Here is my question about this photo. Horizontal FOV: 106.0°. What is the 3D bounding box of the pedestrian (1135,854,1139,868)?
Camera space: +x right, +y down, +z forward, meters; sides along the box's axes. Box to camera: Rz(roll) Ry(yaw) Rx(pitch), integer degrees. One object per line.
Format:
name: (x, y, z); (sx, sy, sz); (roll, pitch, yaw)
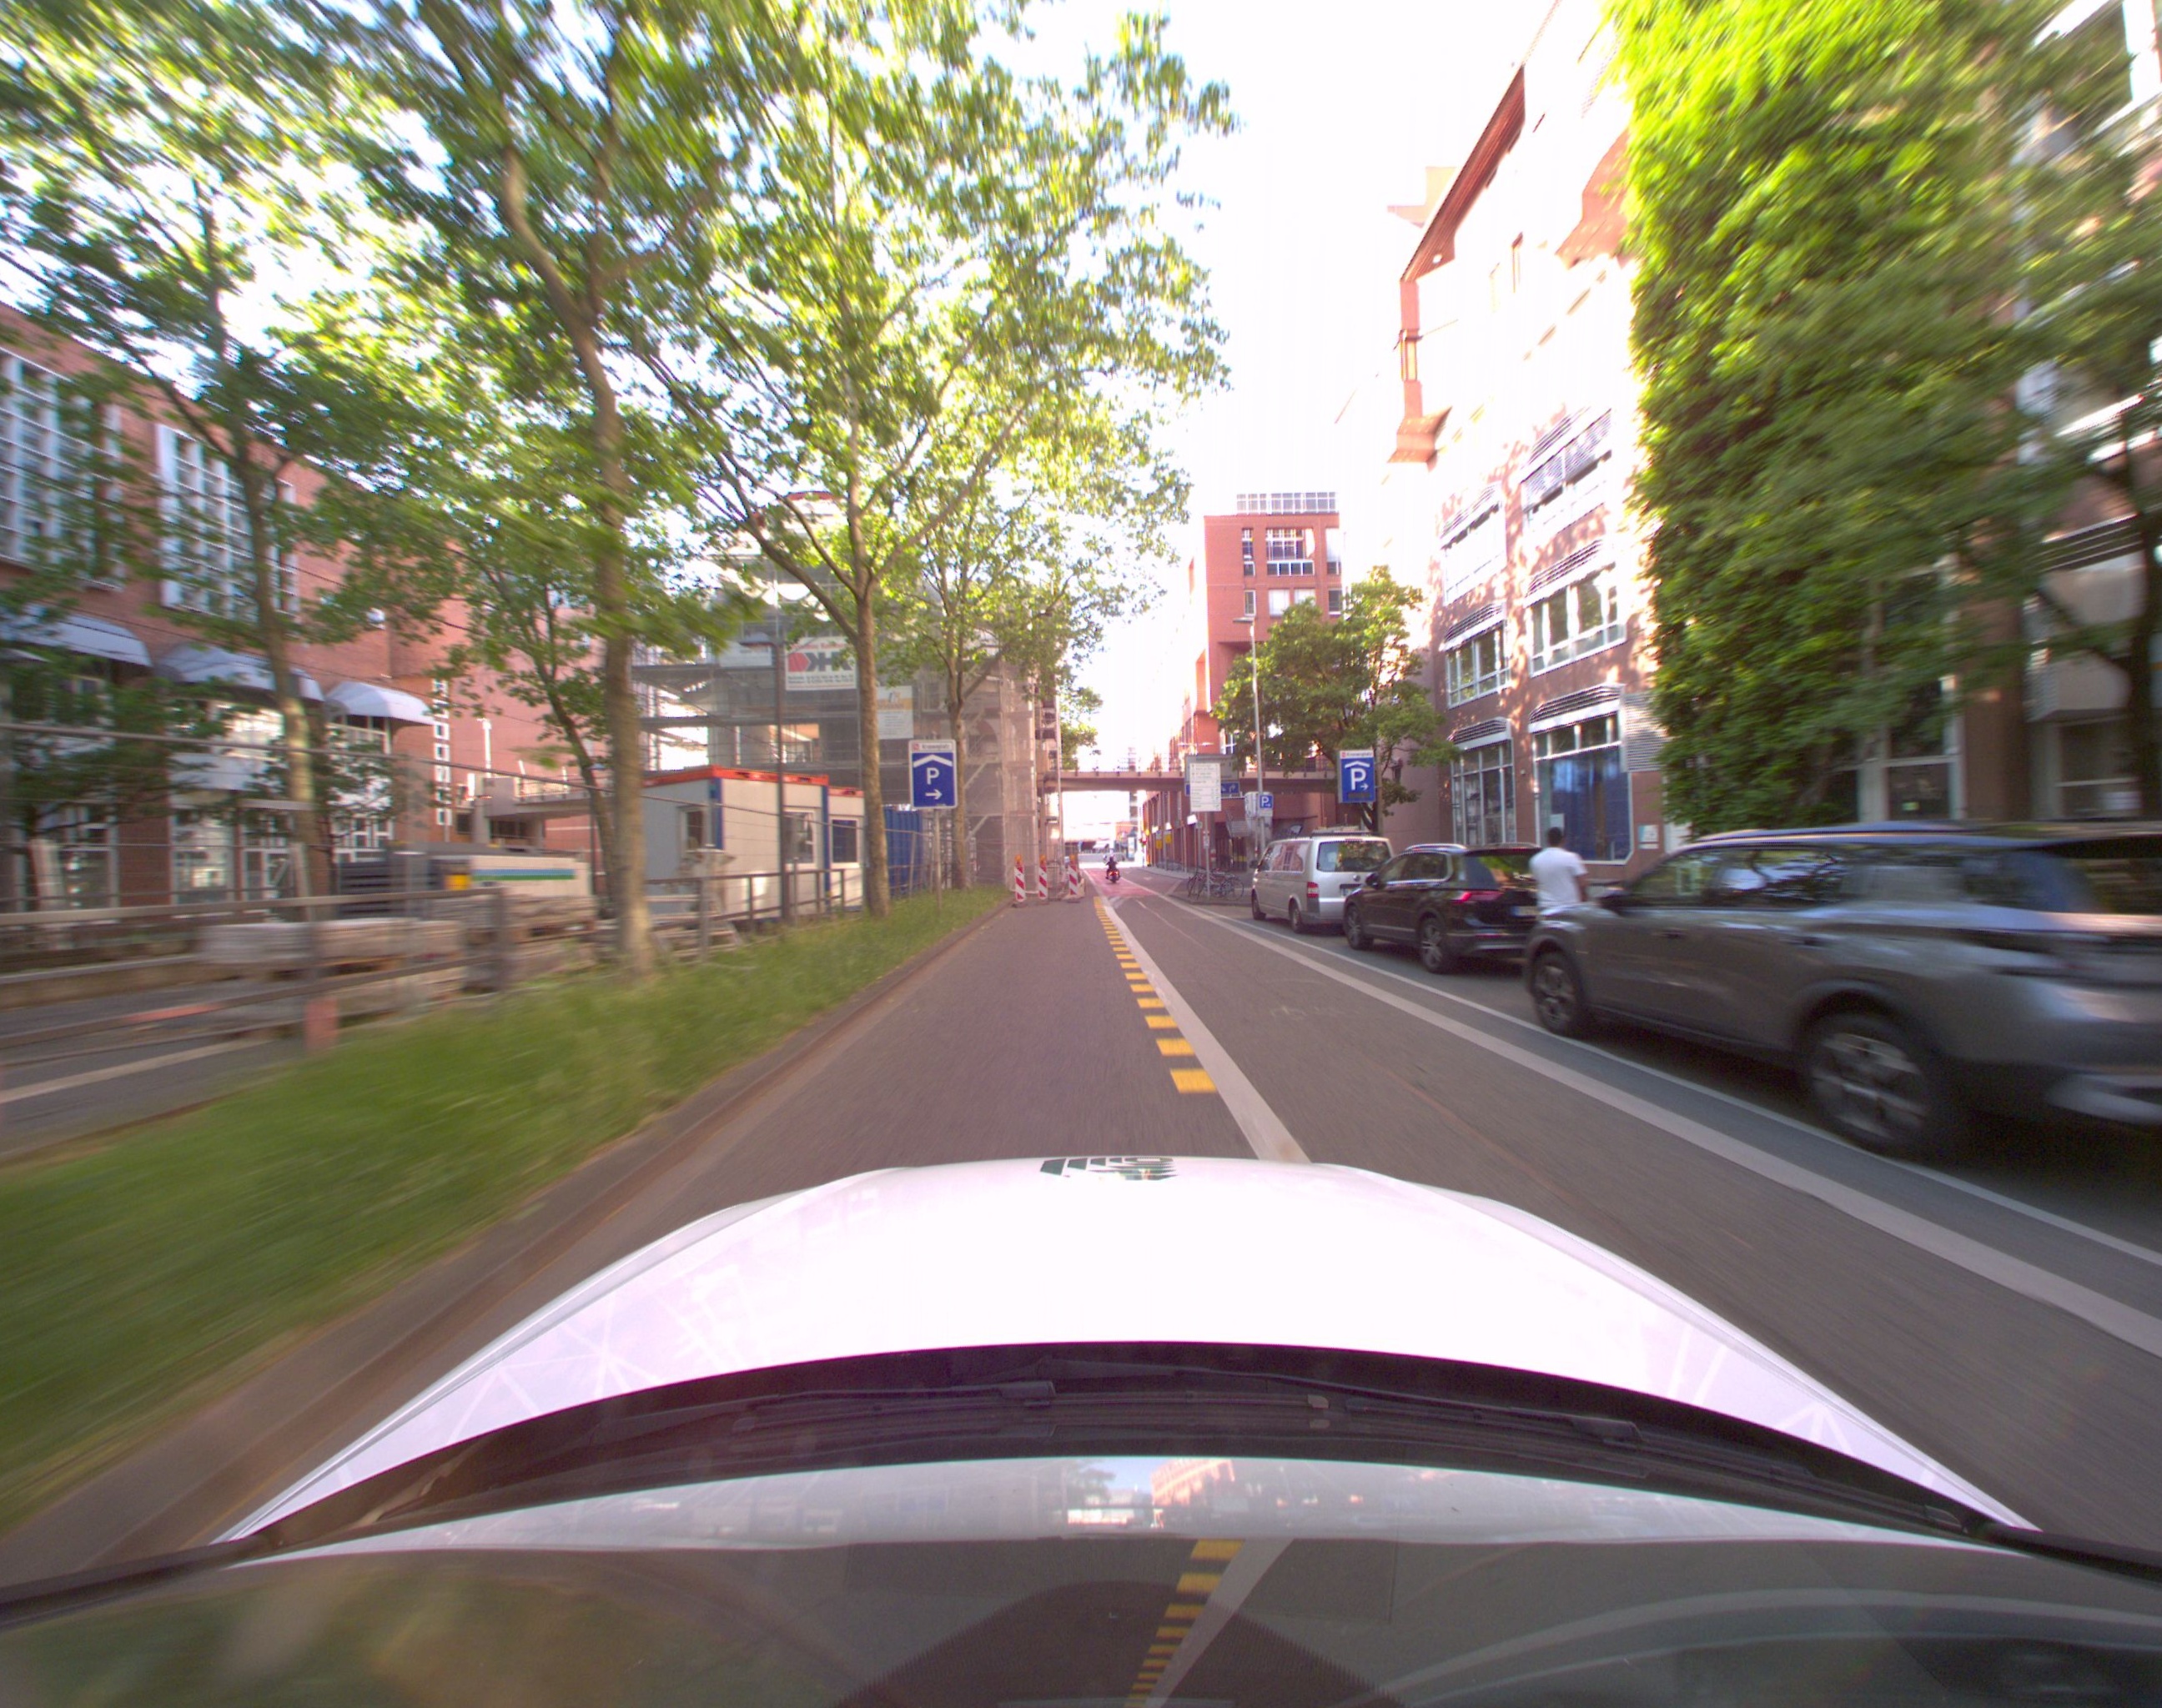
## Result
pedestrian: (6.970, 0.877, 101.378); (0.474, 1.792, 0.541); (-2, 0, -1)

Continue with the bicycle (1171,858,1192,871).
bicycle: (8.292, 0.880, 66.967); (1.606, 0.955, 0.555); (-4, 0, 0)

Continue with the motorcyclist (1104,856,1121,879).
motorcyclist: (1.850, 0.795, 48.159); (0.968, 1.347, 1.137); (0, 0, -2)

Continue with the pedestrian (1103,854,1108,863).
pedestrian: (4.054, 0.723, 133.872); (0.544, 1.583, 0.550); (-1, 0, -44)

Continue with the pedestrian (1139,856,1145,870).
pedestrian: (7.543, 1.094, 100.556); (0.632, 1.725, 0.630); (-2, 0, -1)

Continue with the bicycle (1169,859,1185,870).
bicycle: (8.206, 0.927, 69.716); (1.329, 0.841, 0.425); (-4, 0, 0)

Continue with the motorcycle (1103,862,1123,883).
motorcycle: (1.857, 1.079, 48.029); (0.970, 1.132, 2.803); (0, 0, -1)

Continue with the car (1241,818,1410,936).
car: (4.957, 0.421, 17.409); (1.913, 2.078, 5.167); (-2, 0, -1)

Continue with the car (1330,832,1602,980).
car: (5.127, 0.603, 11.575); (1.782, 1.670, 4.197); (-2, 0, -1)

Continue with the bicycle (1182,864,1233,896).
bicycle: (4.350, 0.877, 28.078); (1.661, 1.067, 0.504); (-1, 0, 33)

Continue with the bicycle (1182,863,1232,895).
bicycle: (4.433, 0.878, 28.779); (1.661, 1.067, 0.504); (-1, 0, 33)

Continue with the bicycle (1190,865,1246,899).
bicycle: (4.355, 0.889, 25.840); (1.663, 1.067, 0.514); (-1, 0, 22)

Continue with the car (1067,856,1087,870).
car: (-0.458, 0.929, 87.171); (1.919, 1.388, 3.996); (-2, 0, -3)

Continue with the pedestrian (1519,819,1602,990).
pedestrian: (5.348, 0.533, 9.072); (0.654, 1.812, 0.720); (-2, 0, 38)

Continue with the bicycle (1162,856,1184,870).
bicycle: (8.373, 0.810, 73.902); (1.886, 1.119, 0.550); (-2, 0, -1)

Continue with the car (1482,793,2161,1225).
car: (4.710, 0.586, 5.420); (1.782, 1.670, 4.437); (-2, 0, -1)

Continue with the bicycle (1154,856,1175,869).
bicycle: (8.009, 0.819, 77.887); (1.886, 1.119, 0.474); (-2, 0, -2)
